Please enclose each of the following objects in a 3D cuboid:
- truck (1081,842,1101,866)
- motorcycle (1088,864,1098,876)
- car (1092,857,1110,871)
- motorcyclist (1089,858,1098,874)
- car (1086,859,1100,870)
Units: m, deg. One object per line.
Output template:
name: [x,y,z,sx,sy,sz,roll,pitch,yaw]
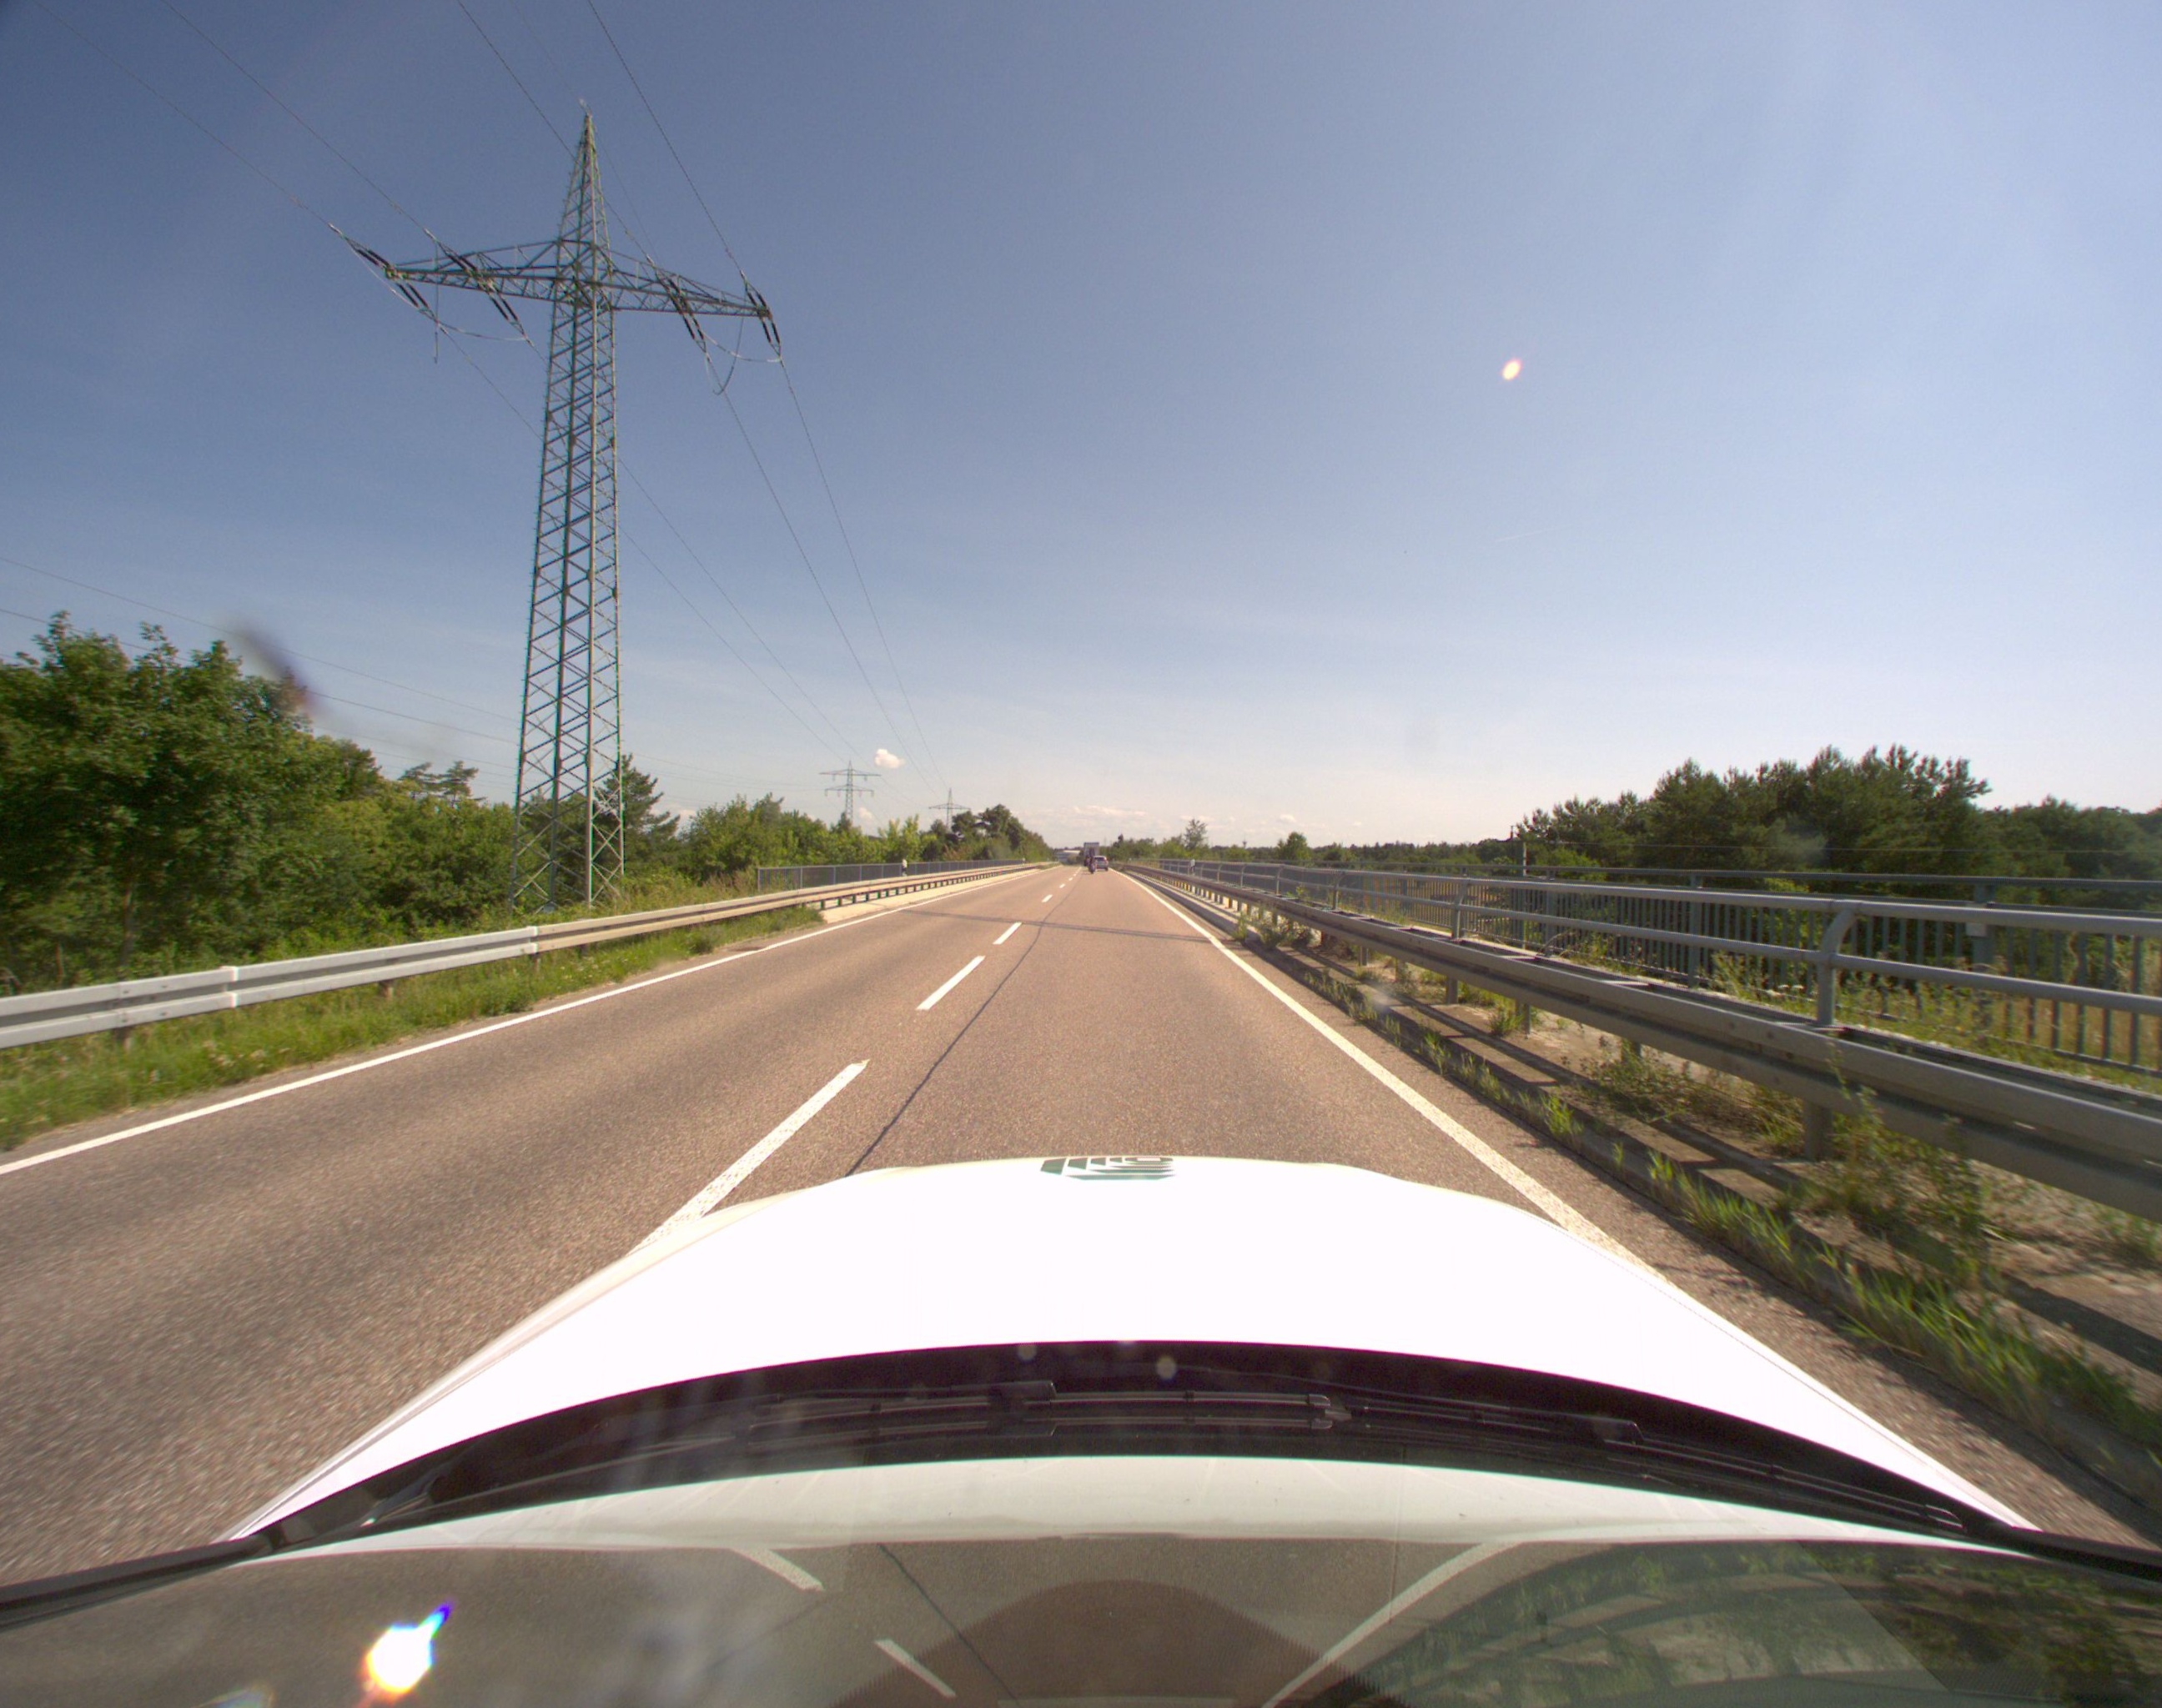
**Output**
truck: [1.826,-0.009,141.397,3.229,3.979,9.447,0,0,2]
motorcycle: [1.031,1.338,67.915,0.777,0.975,2.363,0,0,3]
car: [2.110,1.049,86.353,1.818,1.451,4.002,0,0,2]
motorcyclist: [1.042,1.033,67.934,0.777,1.325,0.814,0,0,2]
car: [1.666,1.449,114.120,1.858,1.420,4.002,0,0,2]
